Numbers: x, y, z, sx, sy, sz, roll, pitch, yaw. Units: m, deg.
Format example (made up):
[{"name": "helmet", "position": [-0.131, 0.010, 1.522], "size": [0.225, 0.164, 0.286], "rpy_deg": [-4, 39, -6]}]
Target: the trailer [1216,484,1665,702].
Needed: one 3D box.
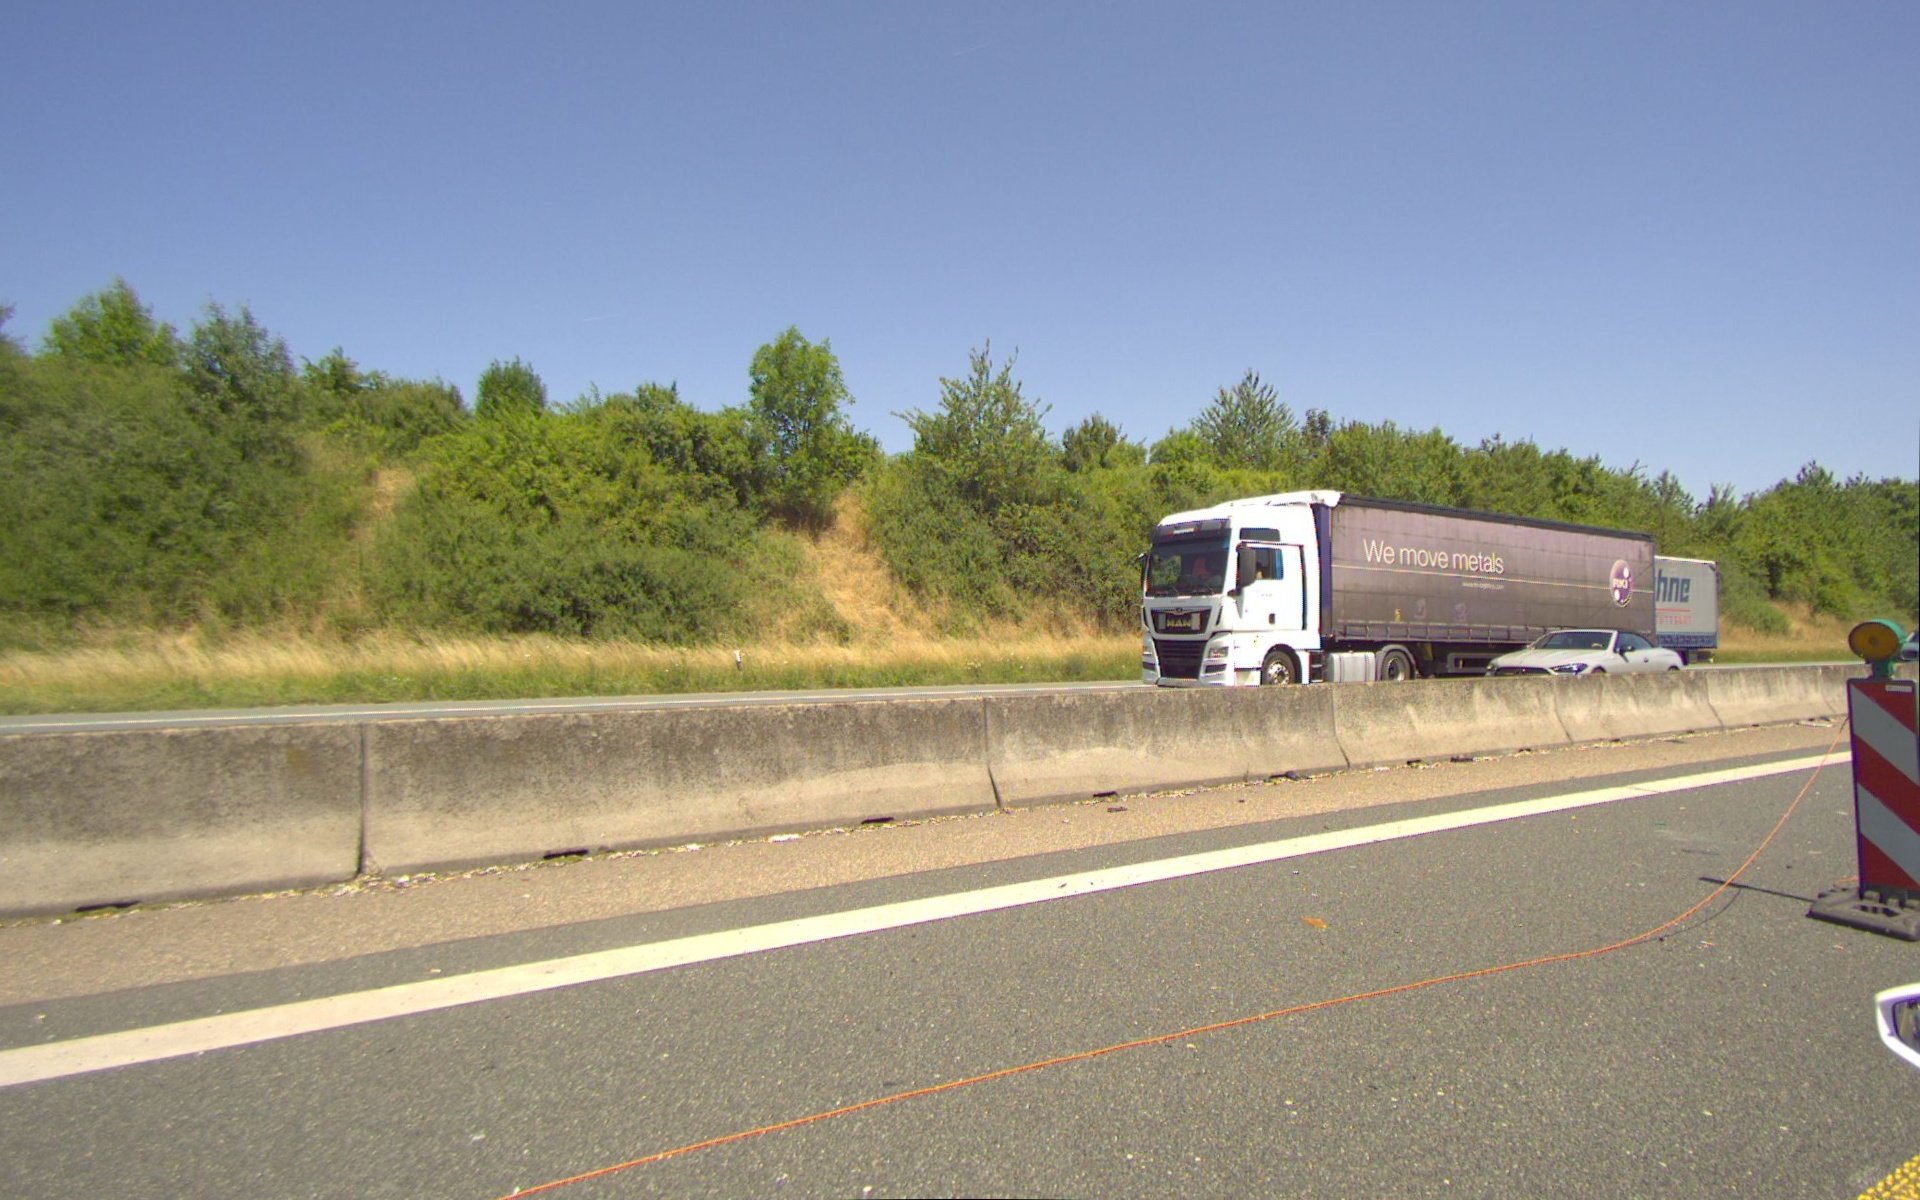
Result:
[{"name": "trailer", "position": [12.201, 0.019, 24.458], "size": [13.531, 4.235, 3.143], "rpy_deg": [1, -1, -32]}]

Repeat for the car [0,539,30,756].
[{"name": "car", "position": [-10.253, 0.347, 6.866], "size": [5.392, 1.816, 1.857], "rpy_deg": [1, -1, -31]}]

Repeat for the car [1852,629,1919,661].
[{"name": "car", "position": [43.180, 2.077, 46.789], "size": [4.047, 1.415, 1.494], "rpy_deg": [1, -1, -34]}]

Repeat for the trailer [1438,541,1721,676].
[{"name": "trailer", "position": [22.288, 0.435, 35.588], "size": [13.489, 4.115, 2.937], "rpy_deg": [1, -3, -33]}]

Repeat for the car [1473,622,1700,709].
[{"name": "car", "position": [11.988, 1.178, 19.141], "size": [4.579, 1.491, 1.754], "rpy_deg": [1, -1, -30]}]

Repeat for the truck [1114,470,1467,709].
[{"name": "truck", "position": [7.094, -0.106, 21.244], "size": [7.332, 4.280, 3.147], "rpy_deg": [1, -1, -32]}]

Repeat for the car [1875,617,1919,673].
[{"name": "car", "position": [31.439, 1.426, 32.306], "size": [4.345, 1.737, 1.833], "rpy_deg": [1, -1, -31]}]
